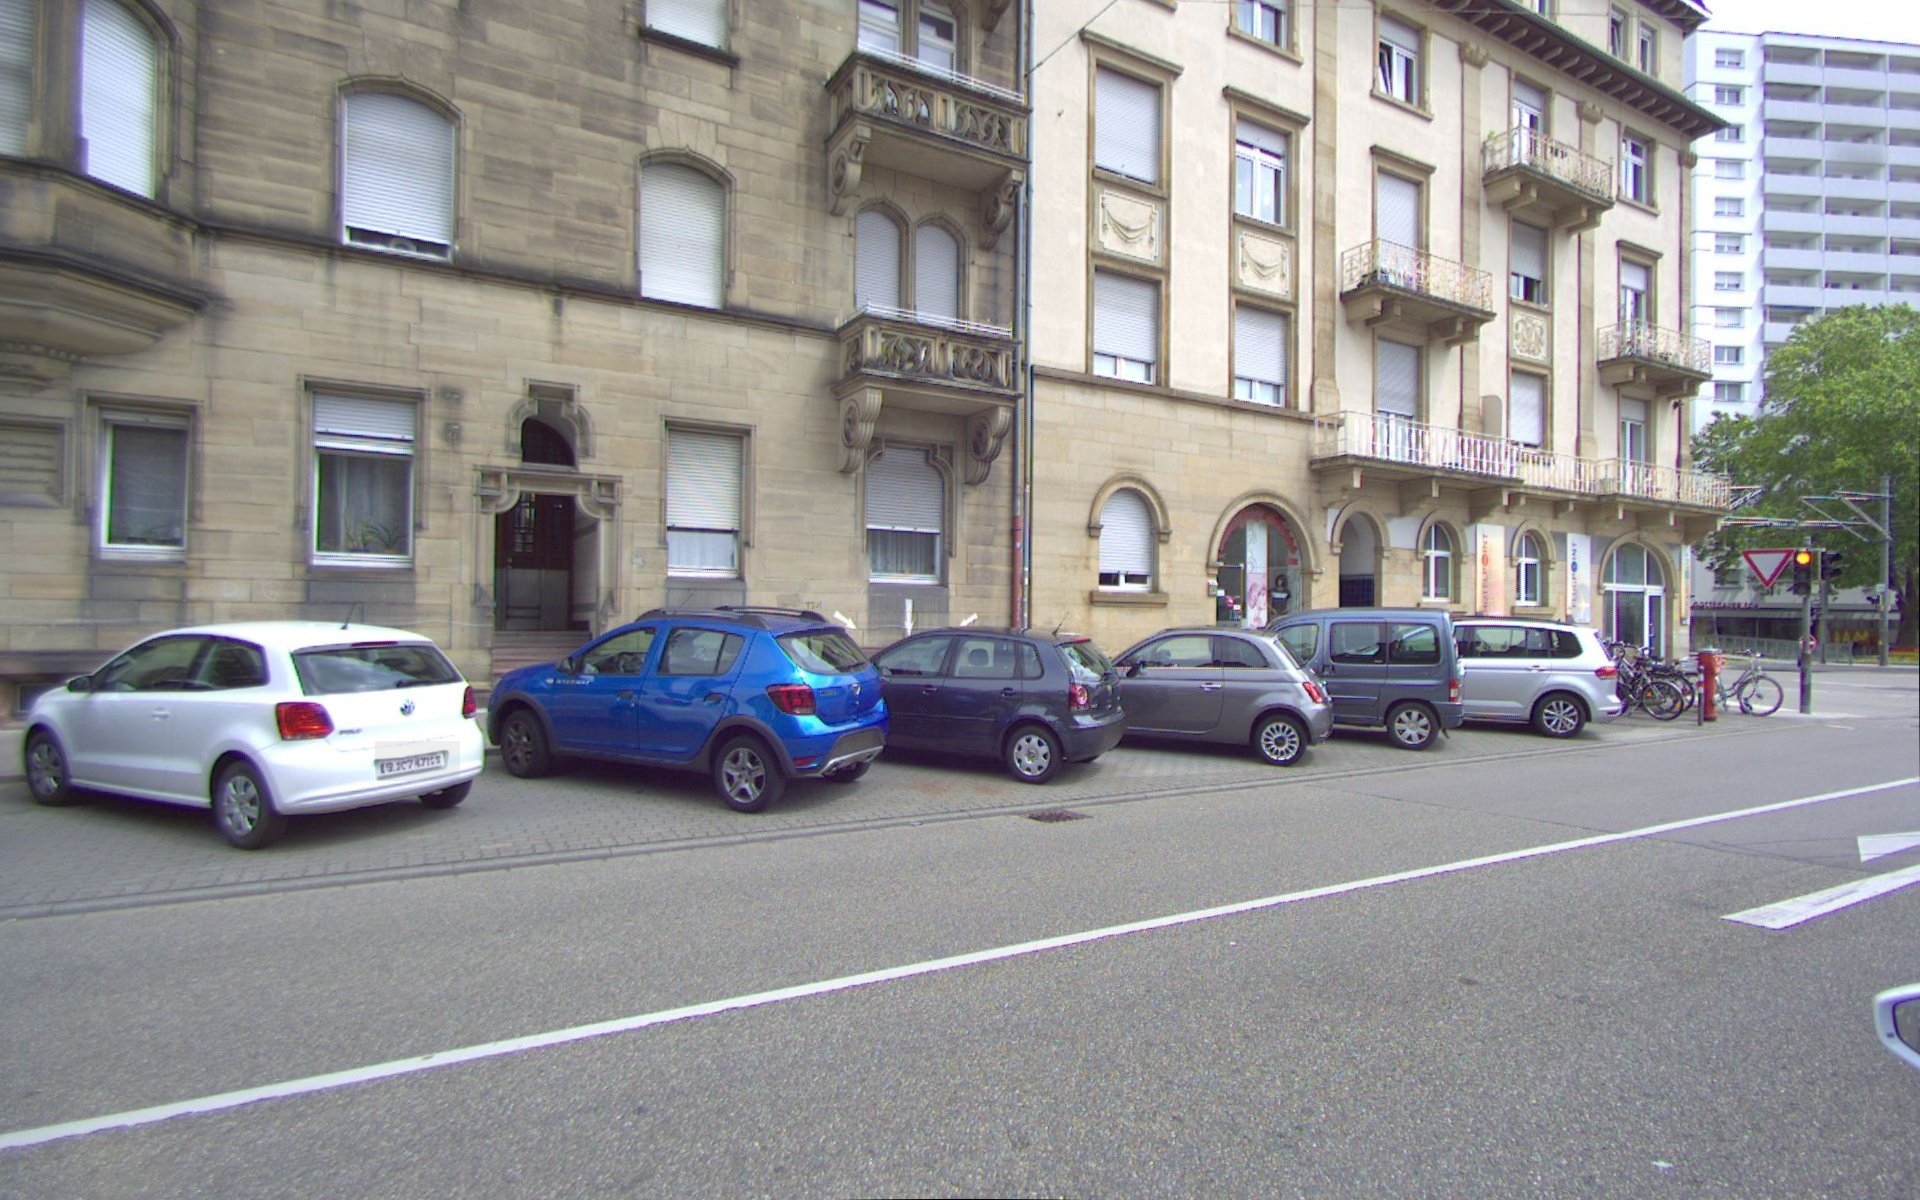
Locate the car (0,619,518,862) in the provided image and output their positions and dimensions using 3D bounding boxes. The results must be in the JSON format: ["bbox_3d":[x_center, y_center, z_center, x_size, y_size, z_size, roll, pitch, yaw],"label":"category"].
[{"bbox_3d":[-5.467,0.908,7.831,3.616,1.501,1.741,0,-1,25],"label":"car"}]

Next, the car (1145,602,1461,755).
[{"bbox_3d":[4.718,0.996,14.039,3.934,1.903,1.796,0,-1,22],"label":"car"}]

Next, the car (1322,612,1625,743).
[{"bbox_3d":[7.691,1.101,15.452,3.934,1.797,1.796,0,-1,22],"label":"car"}]

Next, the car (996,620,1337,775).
[{"bbox_3d":[2.604,1.094,12.556,3.934,1.673,1.796,0,-1,22],"label":"car"}]

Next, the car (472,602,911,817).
[{"bbox_3d":[-2.499,0.876,9.379,3.706,1.673,1.723,0,-1,24],"label":"car"}]

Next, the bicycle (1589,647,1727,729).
[{"bbox_3d":[11.665,1.438,16.848,0.586,1.135,1.803,1,2,-25],"label":"bicycle"}]

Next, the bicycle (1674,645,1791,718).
[{"bbox_3d":[14.262,1.475,18.609,0.489,1.182,1.878,2,0,-9],"label":"bicycle"}]

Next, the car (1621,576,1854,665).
[{"bbox_3d":[38.128,1.014,49.955,3.389,3.967,9.911,0,-1,-5],"label":"car"}]

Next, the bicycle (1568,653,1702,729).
[{"bbox_3d":[11.071,1.460,16.551,0.586,1.135,1.805,1,-1,-23],"label":"bicycle"}]

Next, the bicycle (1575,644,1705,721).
[{"bbox_3d":[11.991,1.419,17.767,0.588,1.182,1.796,1,1,-37],"label":"bicycle"}]

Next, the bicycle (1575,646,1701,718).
[{"bbox_3d":[12.353,1.463,18.361,0.588,1.135,1.796,1,1,-37],"label":"bicycle"}]

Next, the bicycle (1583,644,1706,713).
[{"bbox_3d":[12.846,1.448,18.892,0.588,1.135,1.796,1,1,-37],"label":"bicycle"}]

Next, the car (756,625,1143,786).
[{"bbox_3d":[-0.110,1.020,10.987,3.830,1.463,1.836,0,-1,25],"label":"car"}]
